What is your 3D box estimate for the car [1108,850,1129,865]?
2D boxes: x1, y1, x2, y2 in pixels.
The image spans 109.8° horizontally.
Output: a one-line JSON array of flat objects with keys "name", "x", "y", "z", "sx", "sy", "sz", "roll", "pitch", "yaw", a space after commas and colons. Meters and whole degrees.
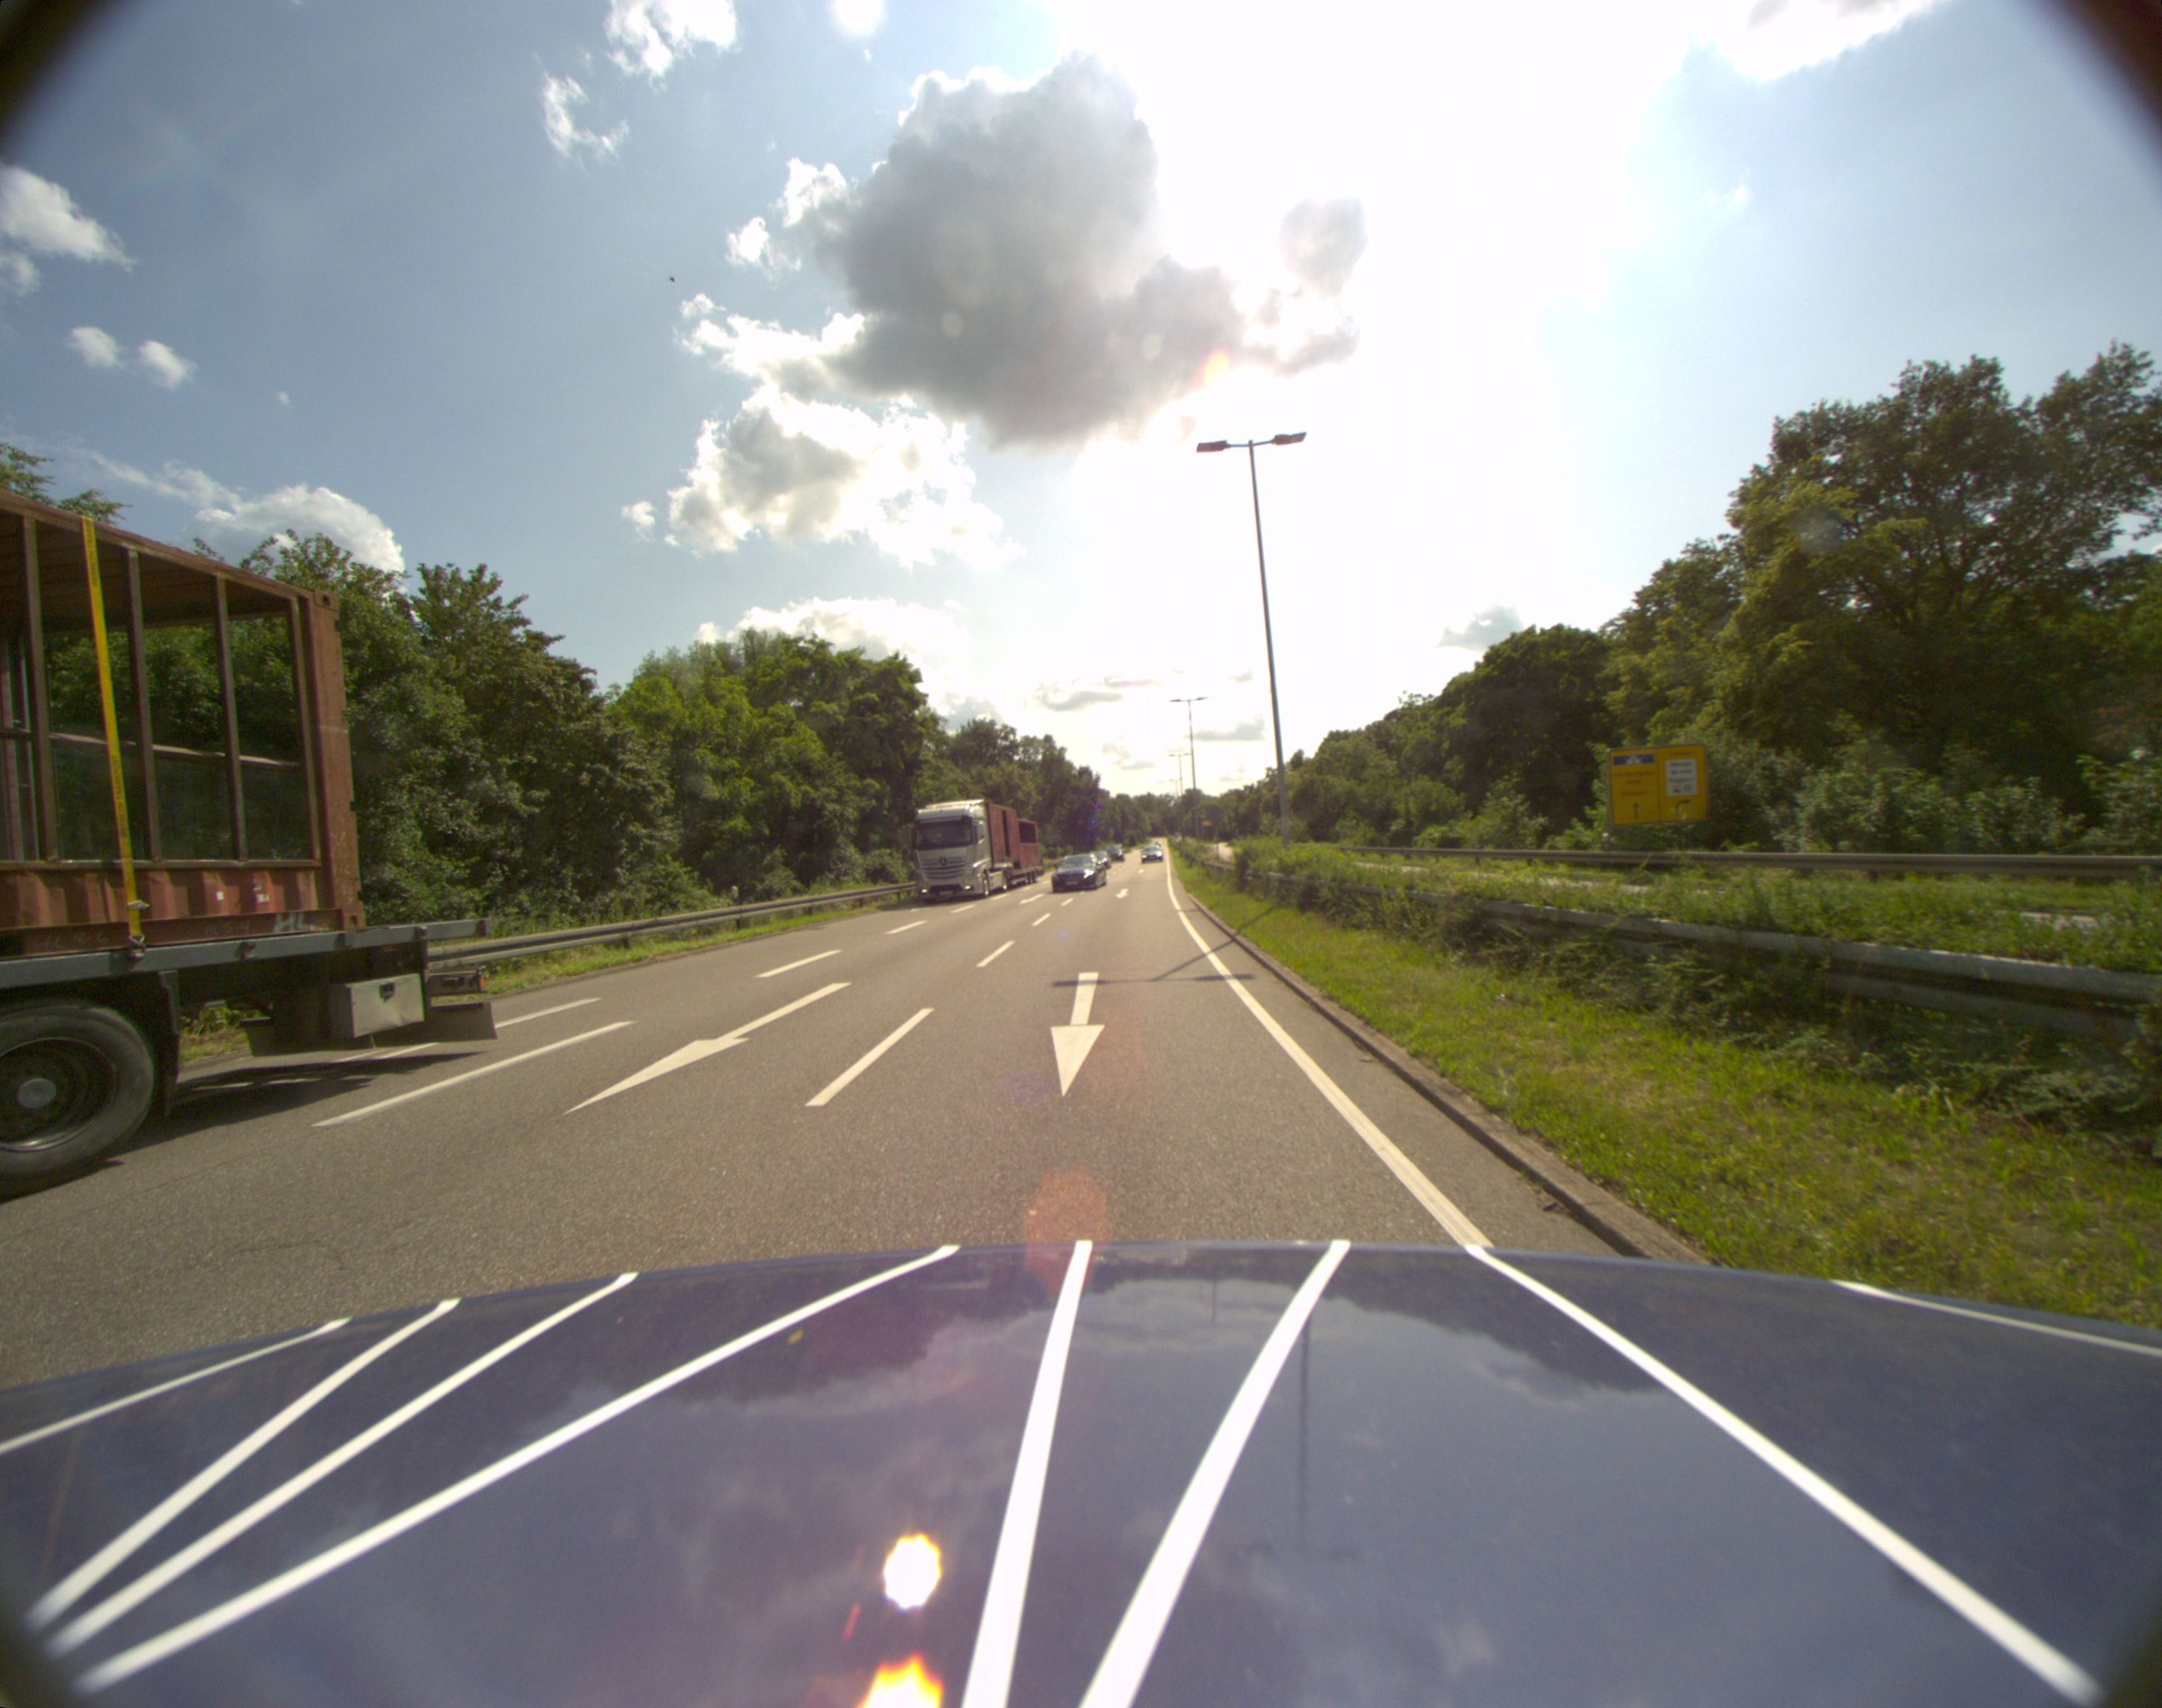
[{"name": "car", "x": 3.857, "y": 0.366, "z": 77.417, "sx": 1.857, "sy": 1.402, "sz": 4.002, "roll": -3, "pitch": 0, "yaw": 5}]

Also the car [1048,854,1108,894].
[{"name": "car", "x": -0.053, "y": 0.767, "z": 31.626, "sx": 1.794, "sy": 1.427, "sz": 4.372, "roll": -3, "pitch": 0, "yaw": 8}]

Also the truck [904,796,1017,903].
[{"name": "truck", "x": -4.825, "y": -0.169, "z": 32.005, "sx": 2.775, "sy": 3.822, "sz": 6.823, "roll": -4, "pitch": 0, "yaw": 6}]

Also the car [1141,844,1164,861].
[{"name": "car", "x": 6.200, "y": -0.096, "z": 65.977, "sx": 1.858, "sy": 1.354, "sz": 4.001, "roll": -2, "pitch": 0, "yaw": 4}]

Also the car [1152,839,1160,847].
[{"name": "car", "x": 21.422, "y": -3.154, "z": 216.460, "sx": 1.976, "sy": 2.002, "sz": 4.000, "roll": -2, "pitch": 1, "yaw": 2}]

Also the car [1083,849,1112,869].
[{"name": "car", "x": 1.278, "y": 0.357, "z": 57.364, "sx": 1.857, "sy": 1.402, "sz": 4.002, "roll": -3, "pitch": 0, "yaw": 5}]

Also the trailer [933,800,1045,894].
[{"name": "trailer", "x": -4.175, "y": -0.304, "z": 38.270, "sx": 2.777, "sy": 3.827, "sz": 12.326, "roll": -4, "pitch": 0, "yaw": 6}]

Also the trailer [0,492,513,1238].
[{"name": "trailer", "x": -7.102, "y": 0.142, "z": 0.148, "sx": 2.645, "sy": 3.868, "sz": 13.849, "roll": -5, "pitch": 0, "yaw": 3}]
